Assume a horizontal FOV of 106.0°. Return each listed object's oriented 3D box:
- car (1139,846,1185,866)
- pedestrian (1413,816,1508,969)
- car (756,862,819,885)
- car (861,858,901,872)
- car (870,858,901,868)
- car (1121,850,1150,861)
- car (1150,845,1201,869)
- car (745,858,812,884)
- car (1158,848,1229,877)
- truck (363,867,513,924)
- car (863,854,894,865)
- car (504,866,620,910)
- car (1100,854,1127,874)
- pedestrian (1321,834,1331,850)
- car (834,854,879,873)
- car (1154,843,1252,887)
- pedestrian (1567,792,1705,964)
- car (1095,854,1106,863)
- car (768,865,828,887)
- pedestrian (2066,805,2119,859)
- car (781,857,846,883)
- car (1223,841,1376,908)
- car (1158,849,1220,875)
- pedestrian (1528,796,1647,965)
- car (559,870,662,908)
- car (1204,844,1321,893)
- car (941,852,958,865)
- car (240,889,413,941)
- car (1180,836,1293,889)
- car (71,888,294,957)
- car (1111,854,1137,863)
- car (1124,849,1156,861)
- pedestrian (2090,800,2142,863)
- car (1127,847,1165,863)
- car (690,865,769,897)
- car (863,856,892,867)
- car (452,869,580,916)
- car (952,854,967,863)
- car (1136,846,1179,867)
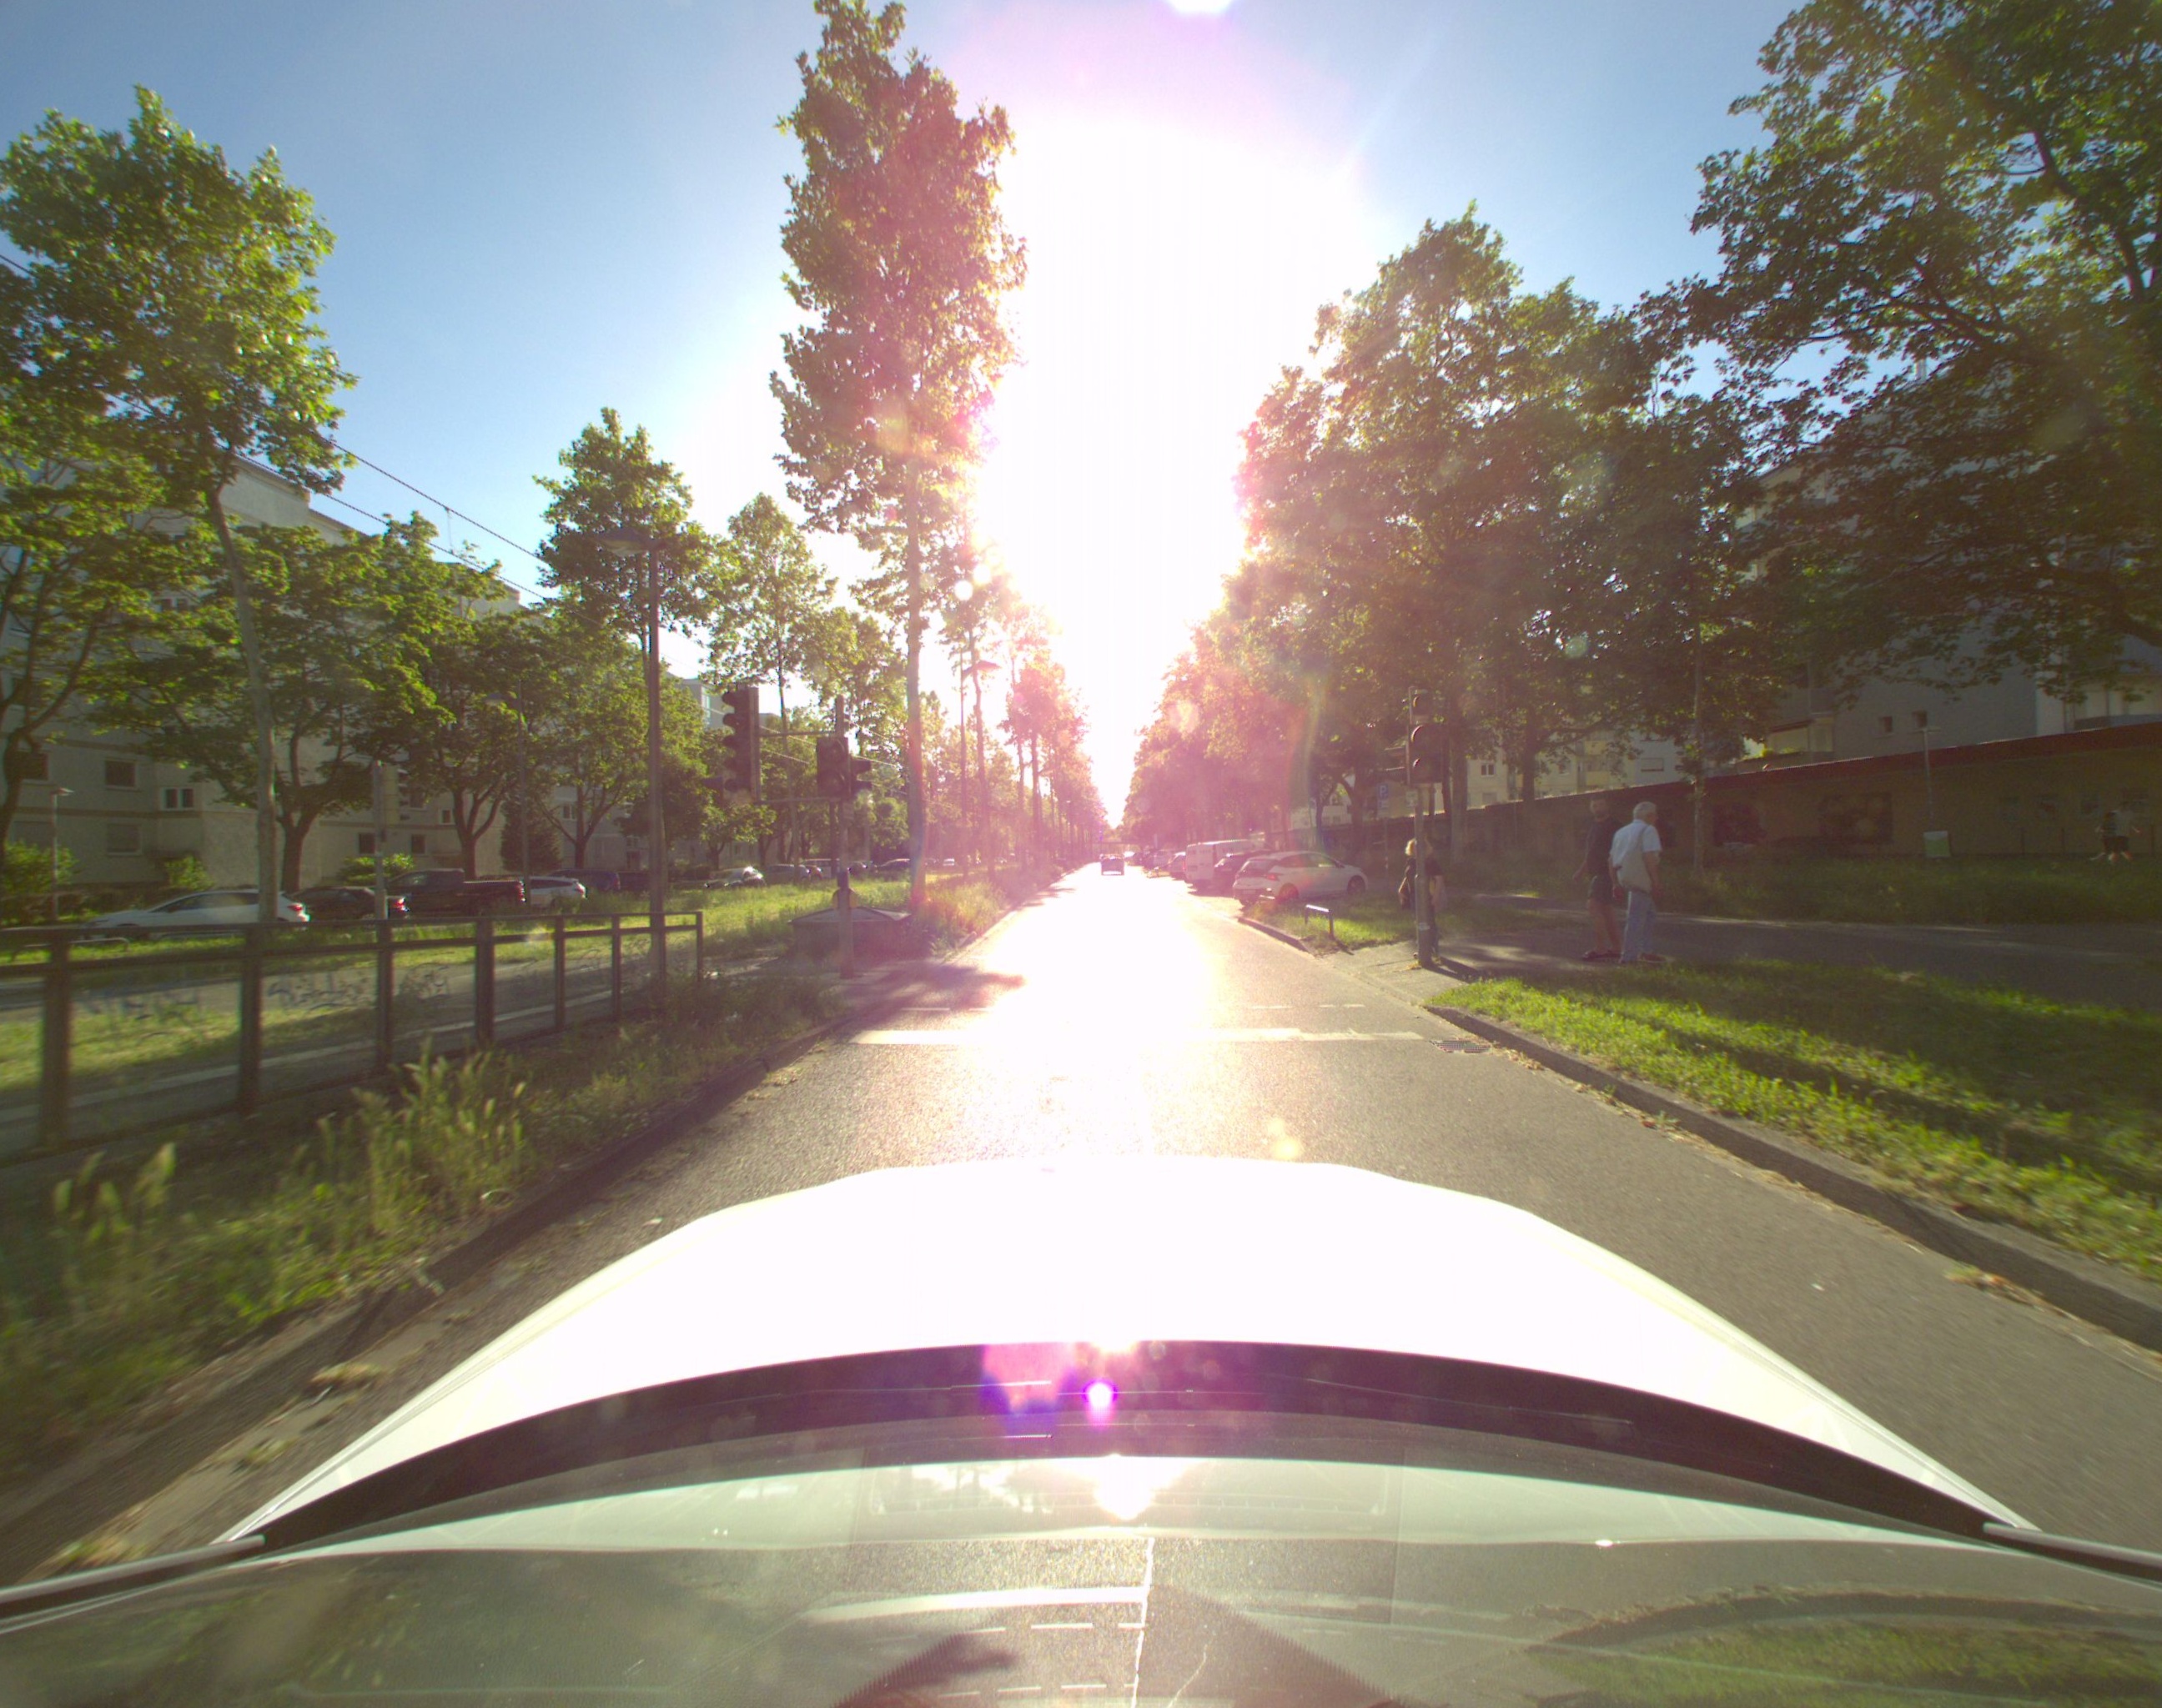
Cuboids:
[{"bbox_3d":[6.894,0.171,68.928,3.808,1.470,1.631,-3,0,-42],"label":"car"},{"bbox_3d":[4.485,0.436,9.630,0.715,1.706,0.647,-3,-1,-33],"label":"pedestrian"},{"bbox_3d":[-21.883,1.436,60.847,4.106,1.483,1.632,-2,0,-40],"label":"car"},{"bbox_3d":[-22.839,1.243,93.135,4.154,1.337,1.774,-2,2,-41],"label":"car"},{"bbox_3d":[-32.236,1.453,134.368,4.511,1.568,1.774,-2,0,-41],"label":"car"},{"bbox_3d":[8.315,0.177,124.436,4.354,1.424,1.834,-3,0,-42],"label":"car"},{"bbox_3d":[7.646,0.205,65.569,4.049,1.705,1.740,-3,0,-40],"label":"car"},{"bbox_3d":[-21.470,1.219,57.943,4.106,1.646,1.632,-2,-1,-40],"label":"car"},{"bbox_3d":[6.549,0.480,47.237,4.208,1.412,1.699,-3,0,-42],"label":"car"},{"bbox_3d":[-23.004,1.431,29.340,4.102,1.775,1.634,-1,1,-35],"label":"truck"},{"bbox_3d":[-32.500,0.866,130.869,4.511,1.675,1.774,-2,0,-41],"label":"car"},{"bbox_3d":[-23.290,1.489,36.616,4.109,1.645,1.631,-3,3,-45],"label":"car"},{"bbox_3d":[2.351,0.704,60.380,1.915,1.411,4.001,-1,0,1],"label":"car"},{"bbox_3d":[30.473,-1.494,101.212,0.872,1.914,0.869,-2,0,-7],"label":"pedestrian"},{"bbox_3d":[-21.507,0.918,77.987,4.085,1.607,1.982,-2,1,-20],"label":"car"},{"bbox_3d":[5.554,0.480,36.881,4.526,1.705,1.740,-3,0,-40],"label":"car"},{"bbox_3d":[5.895,0.239,8.699,0.839,1.722,0.829,-2,0,-2],"label":"pedestrian"},{"bbox_3d":[3.345,0.772,141.038,1.842,1.535,3.868,-2,0,2],"label":"car"},{"bbox_3d":[-21.993,1.700,63.407,4.106,1.432,1.561,-2,-1,-40],"label":"car"},{"bbox_3d":[27.665,-0.603,22.277,0.530,1.430,0.715,-2,1,-4],"label":"pedestrian"},{"bbox_3d":[-22.326,1.308,68.071,4.821,2.006,1.871,-2,1,-37],"label":"car"},{"bbox_3d":[6.132,0.535,22.756,4.011,1.469,1.744,-5,1,-30],"label":"car"},{"bbox_3d":[6.792,0.482,51.035,3.961,1.373,1.568,-3,0,-42],"label":"car"},{"bbox_3d":[6.001,0.298,9.699,0.795,1.885,0.928,-2,0,0],"label":"pedestrian"},{"bbox_3d":[-23.201,1.691,40.254,1.631,1.475,4.110,4,4,44],"label":"car"},{"bbox_3d":[6.577,0.504,29.335,4.015,1.429,1.780,-5,1,-34],"label":"car"},{"bbox_3d":[-21.288,0.768,131.749,1.638,2.093,4.919,1,0,3],"label":"car"},{"bbox_3d":[-23.523,1.866,25.579,3.846,1.246,1.819,-3,0,-41],"label":"car"},{"bbox_3d":[6.339,0.308,32.974,4.694,1.853,1.809,-3,0,-39],"label":"car"},{"bbox_3d":[-23.775,1.732,21.729,1.817,1.435,3.849,-2,0,42],"label":"car"},{"bbox_3d":[7.595,0.753,142.681,4.651,1.459,1.955,-2,0,-45],"label":"car"},{"bbox_3d":[8.327,0.139,114.050,4.519,1.443,1.834,-3,0,-42],"label":"car"},{"bbox_3d":[28.357,-0.615,22.328,0.494,1.700,0.715,-2,1,-4],"label":"pedestrian"},{"bbox_3d":[7.532,0.138,94.103,4.341,1.717,1.617,-2,0,-38],"label":"car"},{"bbox_3d":[-17.892,1.327,41.713,1.985,1.389,4.172,-2,0,3],"label":"car"},{"bbox_3d":[-31.026,1.095,124.201,3.942,1.487,1.774,-2,0,-41],"label":"car"},{"bbox_3d":[-23.018,1.558,33.256,4.106,1.646,1.632,-2,-2,-40],"label":"car"},{"bbox_3d":[-21.103,0.781,141.523,1.864,1.453,3.577,1,0,3],"label":"car"},{"bbox_3d":[7.465,0.211,79.283,4.105,1.811,1.632,-3,0,-39],"label":"car"}]
